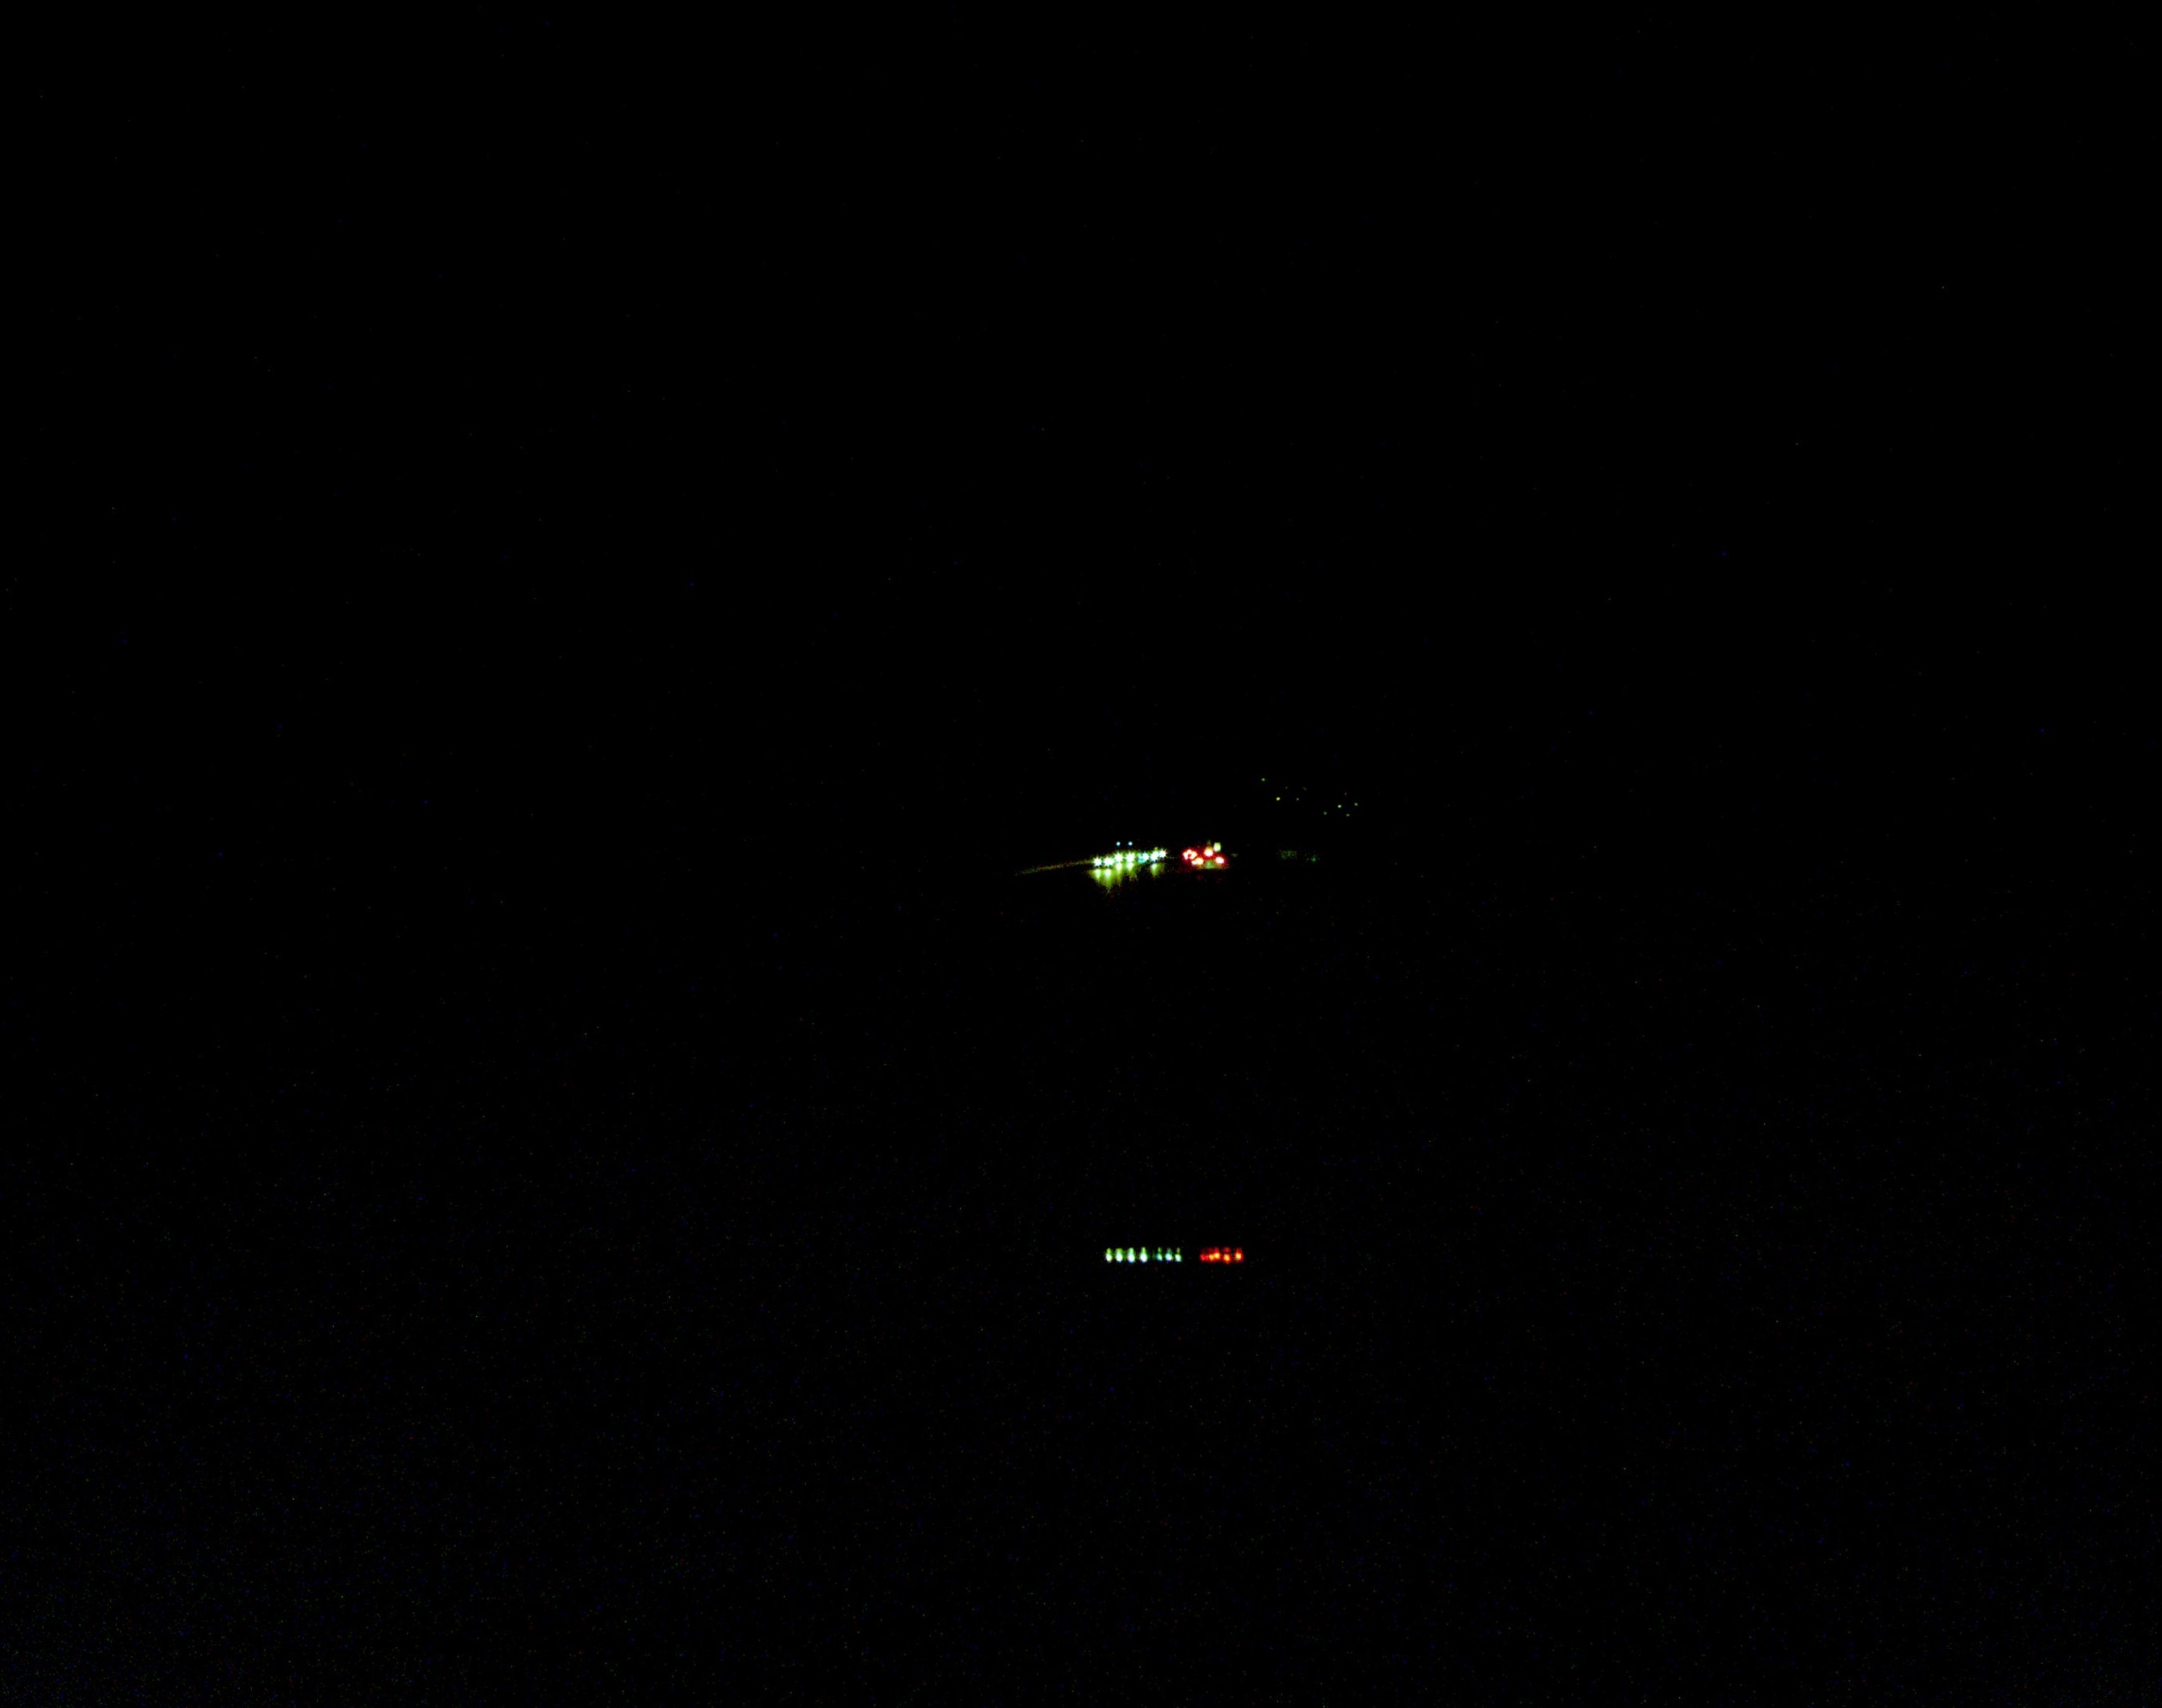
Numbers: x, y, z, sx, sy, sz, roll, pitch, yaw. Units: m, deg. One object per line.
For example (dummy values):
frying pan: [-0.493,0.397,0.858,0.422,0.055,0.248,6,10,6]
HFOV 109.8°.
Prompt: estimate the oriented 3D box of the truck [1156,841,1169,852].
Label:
truck: [19.275,-1.751,178.743,2.424,2.410,7.097,-1,0,11]

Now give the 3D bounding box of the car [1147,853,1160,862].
car: [12.539,0.536,131.102,1.811,1.508,3.940,-1,-1,13]

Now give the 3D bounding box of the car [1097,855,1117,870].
car: [2.822,0.921,82.968,1.811,1.508,3.938,-1,-1,7]

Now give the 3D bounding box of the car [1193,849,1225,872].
car: [8.623,0.425,51.445,1.688,1.450,4.200,-1,0,3]

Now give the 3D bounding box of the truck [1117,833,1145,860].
truck: [8.824,-1.431,132.313,2.969,4.250,17.154,-1,1,10]

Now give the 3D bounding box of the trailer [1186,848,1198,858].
trailer: [19.956,-0.164,136.836,2.016,1.630,3.419,-1,1,10]

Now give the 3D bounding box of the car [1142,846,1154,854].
car: [13.776,-0.786,156.074,1.689,1.619,4.727,-1,-1,13]

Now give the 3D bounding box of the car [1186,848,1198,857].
car: [20.626,-0.251,140.913,2.016,1.630,4.865,-1,1,10]
